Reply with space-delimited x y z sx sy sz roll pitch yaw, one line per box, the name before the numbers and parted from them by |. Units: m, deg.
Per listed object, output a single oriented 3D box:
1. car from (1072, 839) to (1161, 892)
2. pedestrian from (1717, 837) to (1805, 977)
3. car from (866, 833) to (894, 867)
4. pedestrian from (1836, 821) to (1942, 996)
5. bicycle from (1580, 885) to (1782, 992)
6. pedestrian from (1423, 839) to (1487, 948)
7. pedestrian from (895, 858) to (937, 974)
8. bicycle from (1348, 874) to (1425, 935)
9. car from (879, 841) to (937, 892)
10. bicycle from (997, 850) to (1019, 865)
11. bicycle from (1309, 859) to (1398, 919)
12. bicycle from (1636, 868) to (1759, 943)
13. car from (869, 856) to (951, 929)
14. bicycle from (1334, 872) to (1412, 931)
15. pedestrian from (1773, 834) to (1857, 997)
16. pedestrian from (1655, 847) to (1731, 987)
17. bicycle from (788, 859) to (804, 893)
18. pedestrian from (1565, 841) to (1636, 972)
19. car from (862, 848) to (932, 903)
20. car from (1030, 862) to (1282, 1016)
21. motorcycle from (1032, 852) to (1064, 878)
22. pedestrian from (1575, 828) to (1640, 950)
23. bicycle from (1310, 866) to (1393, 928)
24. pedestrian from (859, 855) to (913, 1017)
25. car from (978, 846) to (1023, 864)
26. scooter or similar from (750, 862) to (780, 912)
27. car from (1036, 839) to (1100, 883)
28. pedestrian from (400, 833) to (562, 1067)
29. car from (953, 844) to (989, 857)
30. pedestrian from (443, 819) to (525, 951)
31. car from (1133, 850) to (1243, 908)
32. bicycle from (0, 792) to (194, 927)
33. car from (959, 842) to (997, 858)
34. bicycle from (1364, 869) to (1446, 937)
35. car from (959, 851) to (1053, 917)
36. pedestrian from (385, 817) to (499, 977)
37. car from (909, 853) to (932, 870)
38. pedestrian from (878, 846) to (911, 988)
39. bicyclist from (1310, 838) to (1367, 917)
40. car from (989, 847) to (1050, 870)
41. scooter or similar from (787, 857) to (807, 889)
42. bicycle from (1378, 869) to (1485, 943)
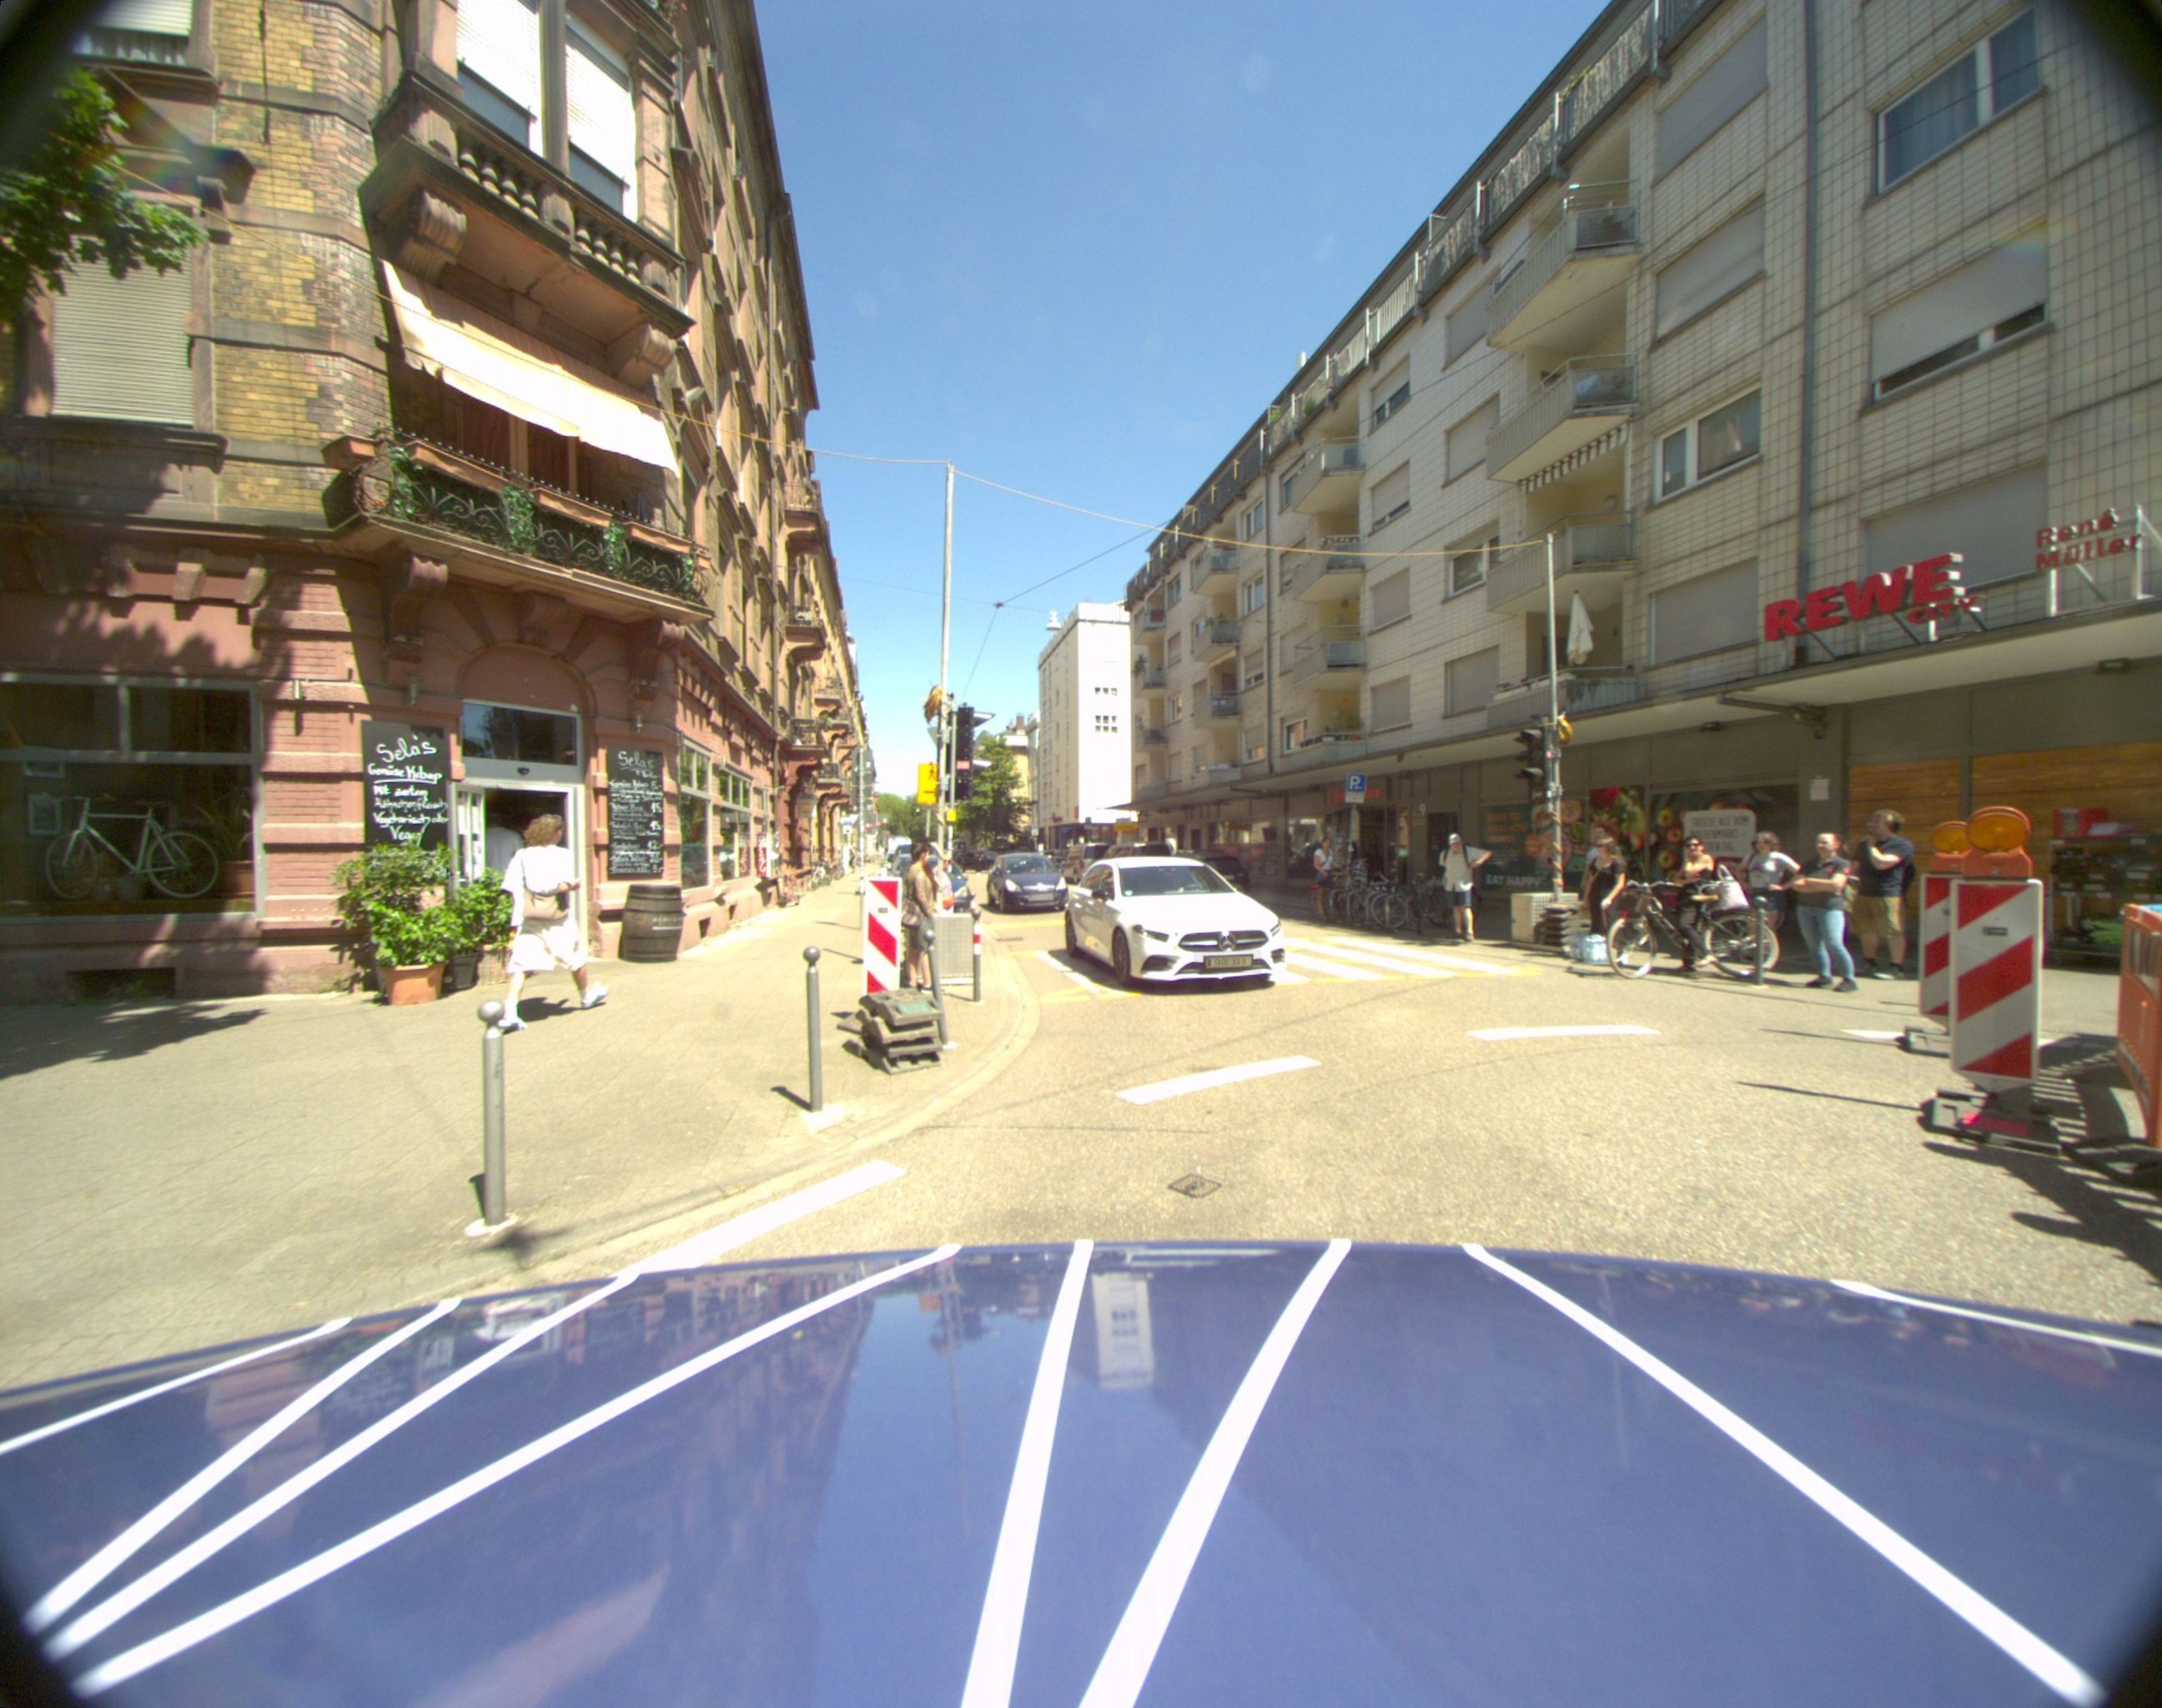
car | 1.242 0.376 29.060 1.796 1.801 4.691 -2 1 -18
pedestrian | 8.188 0.611 9.165 0.511 1.624 0.598 -1 2 -17
car | -17.370 -0.369 65.609 2.070 2.687 5.031 -3 2 -15
pedestrian | 8.706 0.557 8.205 0.511 1.809 0.598 -1 2 -17
bicycle | 6.741 0.942 8.588 1.808 1.113 0.468 -2 1 6
pedestrian | 6.042 0.612 12.289 0.658 1.717 0.631 -1 2 -17
pedestrian | -2.225 0.828 10.278 0.494 1.534 0.436 1 1 -9
bicycle | 5.802 0.935 14.413 1.453 1.030 0.335 -3 2 -19
car | -6.621 0.414 28.773 1.832 1.757 4.330 0 1 -17
bicycle | -5.677 0.242 59.050 1.610 1.084 0.370 -2 2 -10
bicycle | 6.000 0.748 16.680 1.942 1.085 0.603 -6 1 -27
bicycle | 9.453 0.763 11.704 0.322 1.080 1.429 -2 1 -34
car | -3.960 0.782 17.386 1.633 1.424 3.655 0 1 -14
bicycle | 5.719 0.913 14.872 1.500 1.025 0.397 -3 2 -19
pedestrian | 7.496 0.607 7.771 0.391 1.609 0.474 -1 2 -17
pedestrian | 7.017 0.705 8.723 0.496 1.557 0.459 -2 1 11
bicycle | -9.887 0.753 26.404 0.355 1.097 1.753 -1 1 -15
pedestrian | 6.674 0.652 9.778 0.543 1.624 0.510 -1 2 -17
car | -5.525 0.563 22.445 1.732 1.424 4.478 0 1 -17
car | 0.656 0.851 9.664 1.816 1.417 4.236 -1 0 -15
motorcycle | -1.686 0.555 38.961 1.553 1.277 0.394 -1 3 17
pedestrian | 7.831 0.506 11.318 0.511 1.760 0.598 -1 2 -17
bicycle | 5.546 0.855 15.545 1.590 1.133 0.526 -3 2 -19
pedestrian | -1.940 0.791 7.595 0.461 1.551 0.478 -1 2 -9
car | -7.427 0.070 69.895 3.890 1.520 1.649 -1 1 -16
scooter or similar | -7.874 0.813 18.953 0.293 1.170 1.271 -1 1 -6
car | -0.686 0.259 35.105 1.795 1.818 4.893 -2 1 -15
pedestrian | -4.703 0.700 6.017 0.478 1.723 0.871 0 3 4
car | -12.650 -0.428 87.308 3.890 1.487 1.649 -1 1 -16
pedestrian | -8.070 0.400 10.288 0.495 1.709 0.725 3 3 30
car | 3.077 0.663 22.893 1.676 1.516 4.457 -2 1 -15
bicycle | -9.026 0.044 6.754 1.427 1.145 0.509 -1 2 -13
car | -11.124 -0.444 81.853 3.890 1.737 1.649 -1 1 -16
bicycle | 5.954 0.884 13.962 1.525 1.111 0.335 -3 2 -19
car | -2.079 0.698 20.078 1.782 1.460 3.994 -3 2 -15
pedestrian | -7.676 0.482 9.155 0.455 1.809 0.943 4 3 28
car | -13.751 0.630 65.064 1.750 1.382 3.994 -1 1 -15
pedestrian | -2.235 0.739 9.142 0.333 1.666 0.401 -1 2 -9
bicyclist | 5.764 0.514 17.036 0.626 1.696 0.977 -4 1 -24
car | -4.081 0.264 50.095 3.891 1.417 1.814 -1 1 -6
scooter or similar | -10.901 0.705 29.206 0.478 1.146 2.146 -1 1 -15
bicycle | 6.126 0.885 13.260 1.805 1.116 0.577 -3 2 -21
